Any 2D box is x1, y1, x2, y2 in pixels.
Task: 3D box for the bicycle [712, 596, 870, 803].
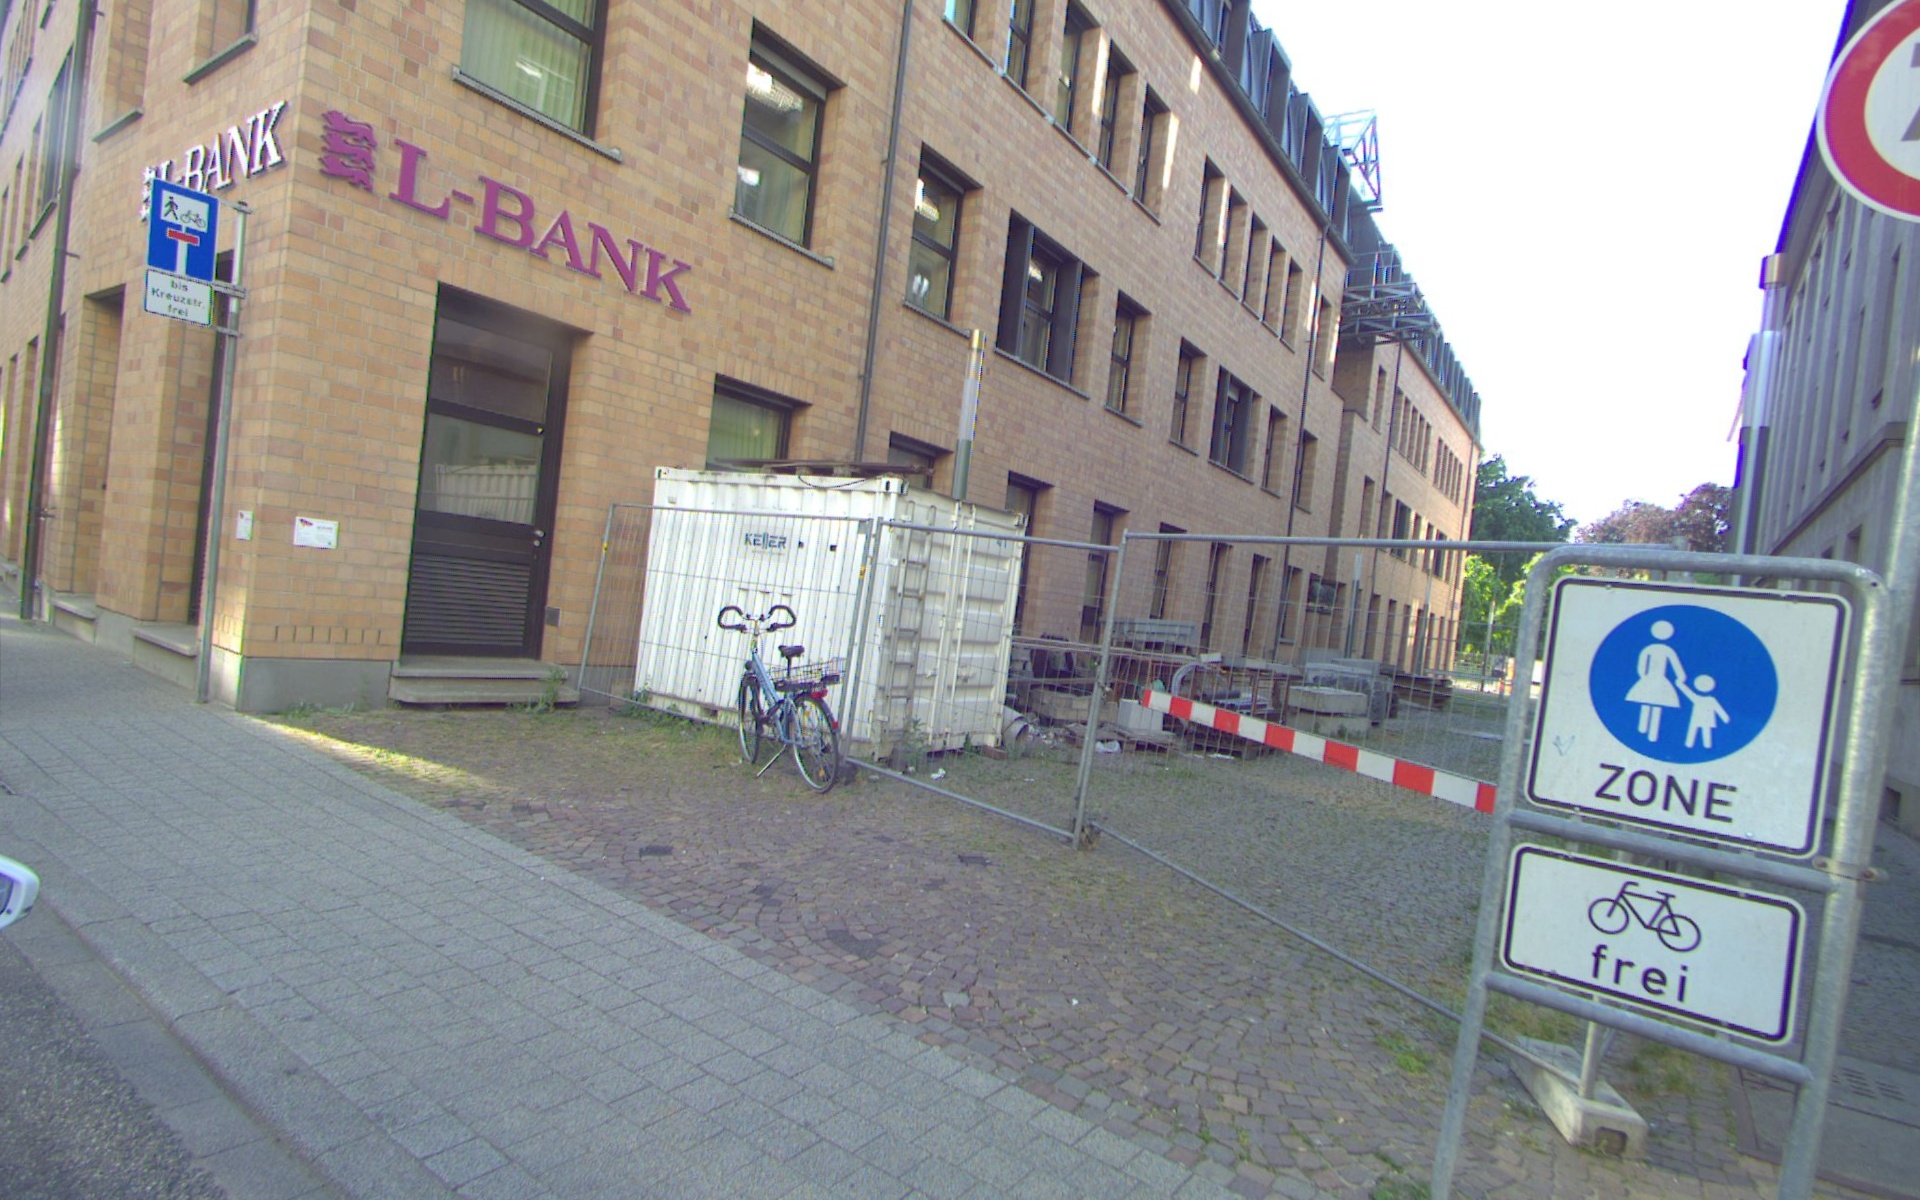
[{"bbox_3d":[-1.272,0.666,7.315,0.317,1.265,1.566,6,1,-37],"label":"bicycle"}]
